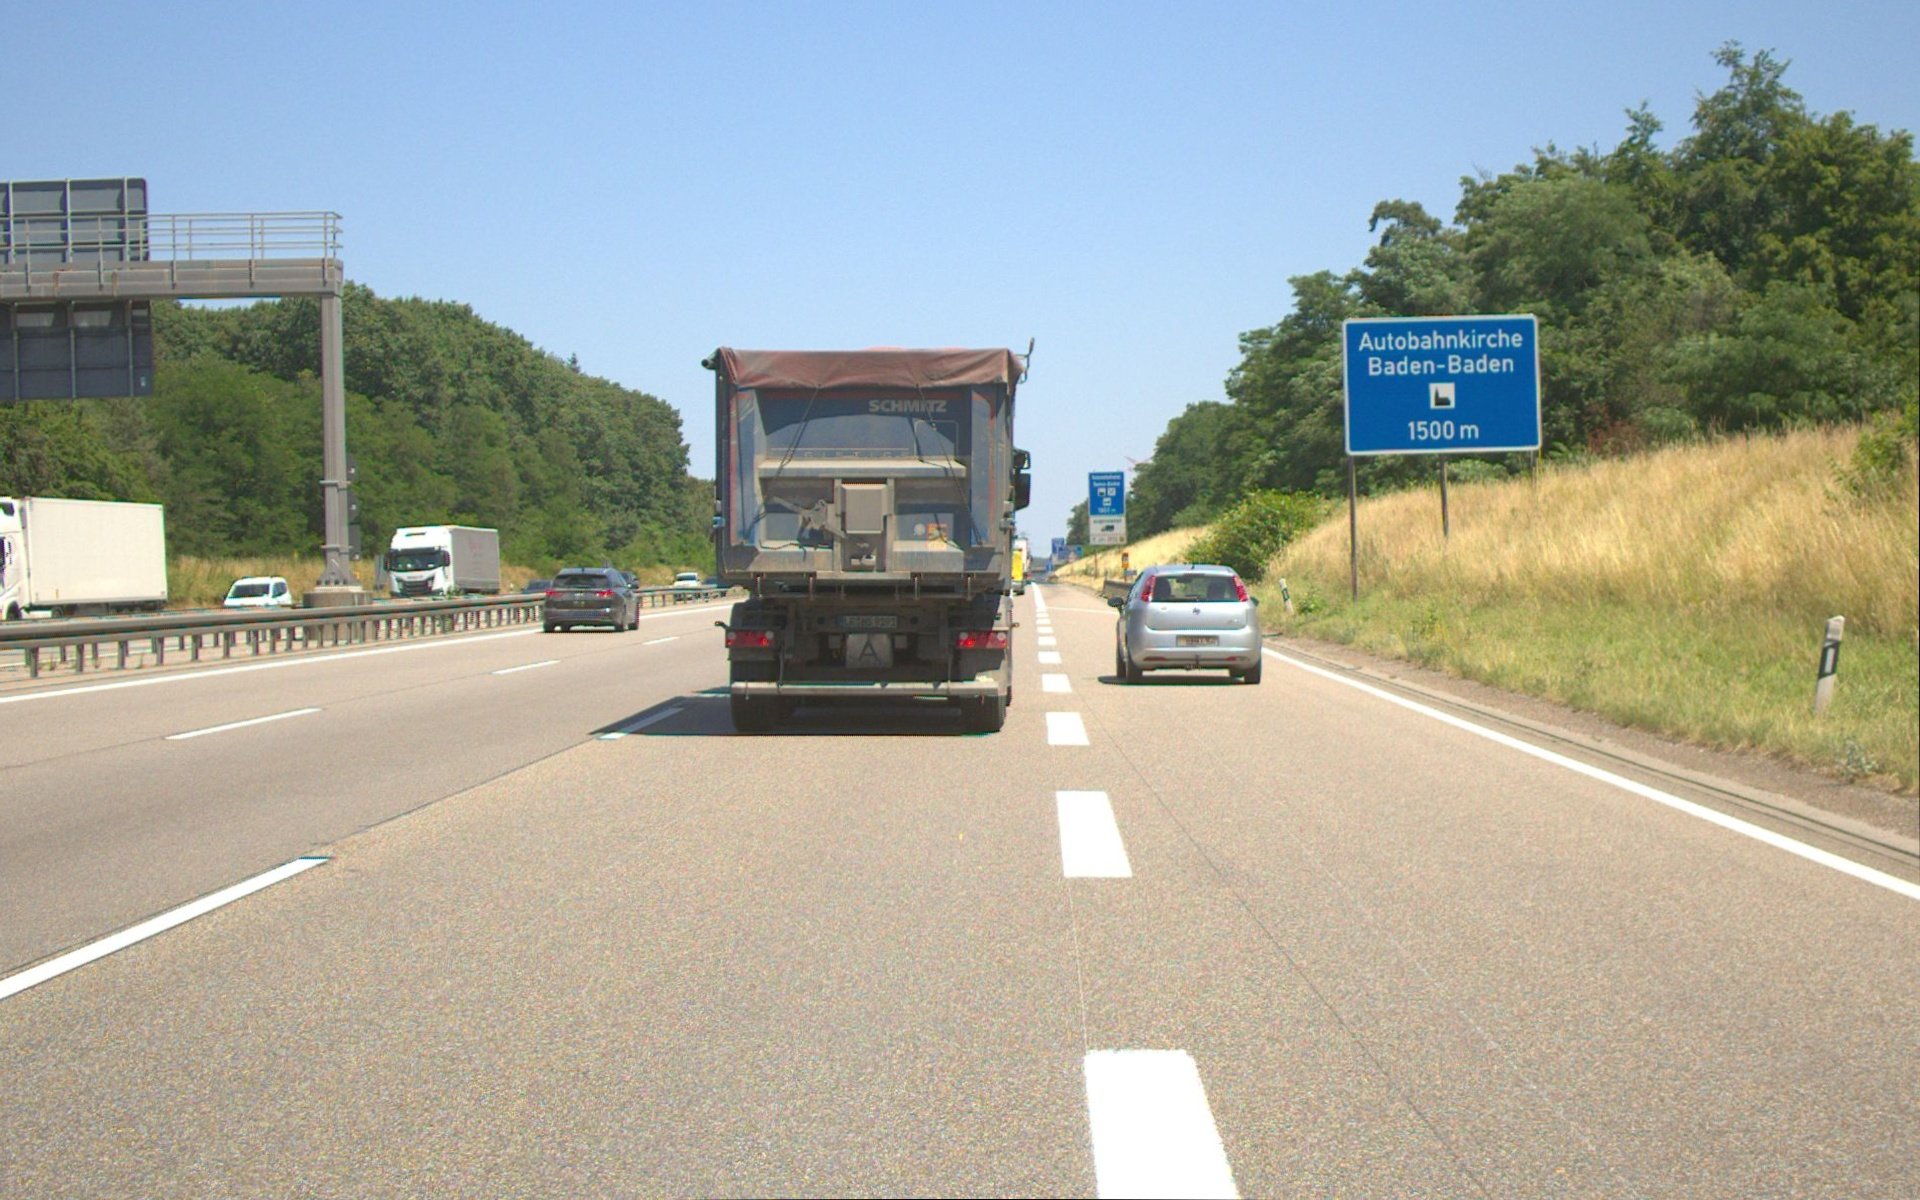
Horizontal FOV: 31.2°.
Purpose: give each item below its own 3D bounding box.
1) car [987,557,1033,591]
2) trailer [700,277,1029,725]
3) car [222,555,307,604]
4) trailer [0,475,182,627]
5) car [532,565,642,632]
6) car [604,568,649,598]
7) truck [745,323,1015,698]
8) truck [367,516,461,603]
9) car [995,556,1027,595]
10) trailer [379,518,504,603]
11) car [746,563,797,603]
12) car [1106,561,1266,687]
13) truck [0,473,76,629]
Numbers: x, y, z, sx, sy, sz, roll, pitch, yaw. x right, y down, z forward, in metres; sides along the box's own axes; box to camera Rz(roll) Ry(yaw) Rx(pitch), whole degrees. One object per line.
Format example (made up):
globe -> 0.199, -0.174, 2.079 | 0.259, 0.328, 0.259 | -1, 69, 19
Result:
car -> 2.187, -1.121, 150.212 | 1.821, 1.486, 3.736 | 0, 0, 4
trailer -> -0.790, -0.912, 33.483 | 2.737, 3.746, 9.109 | 0, 1, 0
car -> -25.127, -0.746, 124.422 | 1.993, 1.743, 4.991 | 0, 1, 1
trailer -> -25.847, -1.366, 98.401 | 3.214, 4.028, 14.359 | 0, 1, 3
car -> -8.422, -0.059, 77.943 | 1.832, 1.427, 4.999 | 0, 1, 1
car -> -18.141, -0.914, 187.134 | 1.846, 1.605, 4.921 | 0, 1, 1
truck -> -0.796, -0.955, 37.572 | 2.684, 3.746, 5.944 | 0, 1, 0
truck -> -25.069, -1.843, 158.034 | 3.168, 3.917, 5.399 | 0, 0, 3
car -> 2.642, -1.276, 178.693 | 1.611, 2.007, 4.000 | 0, 1, 0
trailer -> -24.718, -1.885, 164.623 | 3.168, 3.917, 13.962 | 0, 1, 3
car -> -7.425, -0.677, 135.597 | 1.703, 1.469, 4.597 | -1, 1, 0
car -> 2.817, 0.269, 43.516 | 1.719, 1.486, 3.737 | 0, 1, -1
truck -> -26.163, -1.292, 91.881 | 3.214, 4.004, 6.215 | 0, 1, 3
